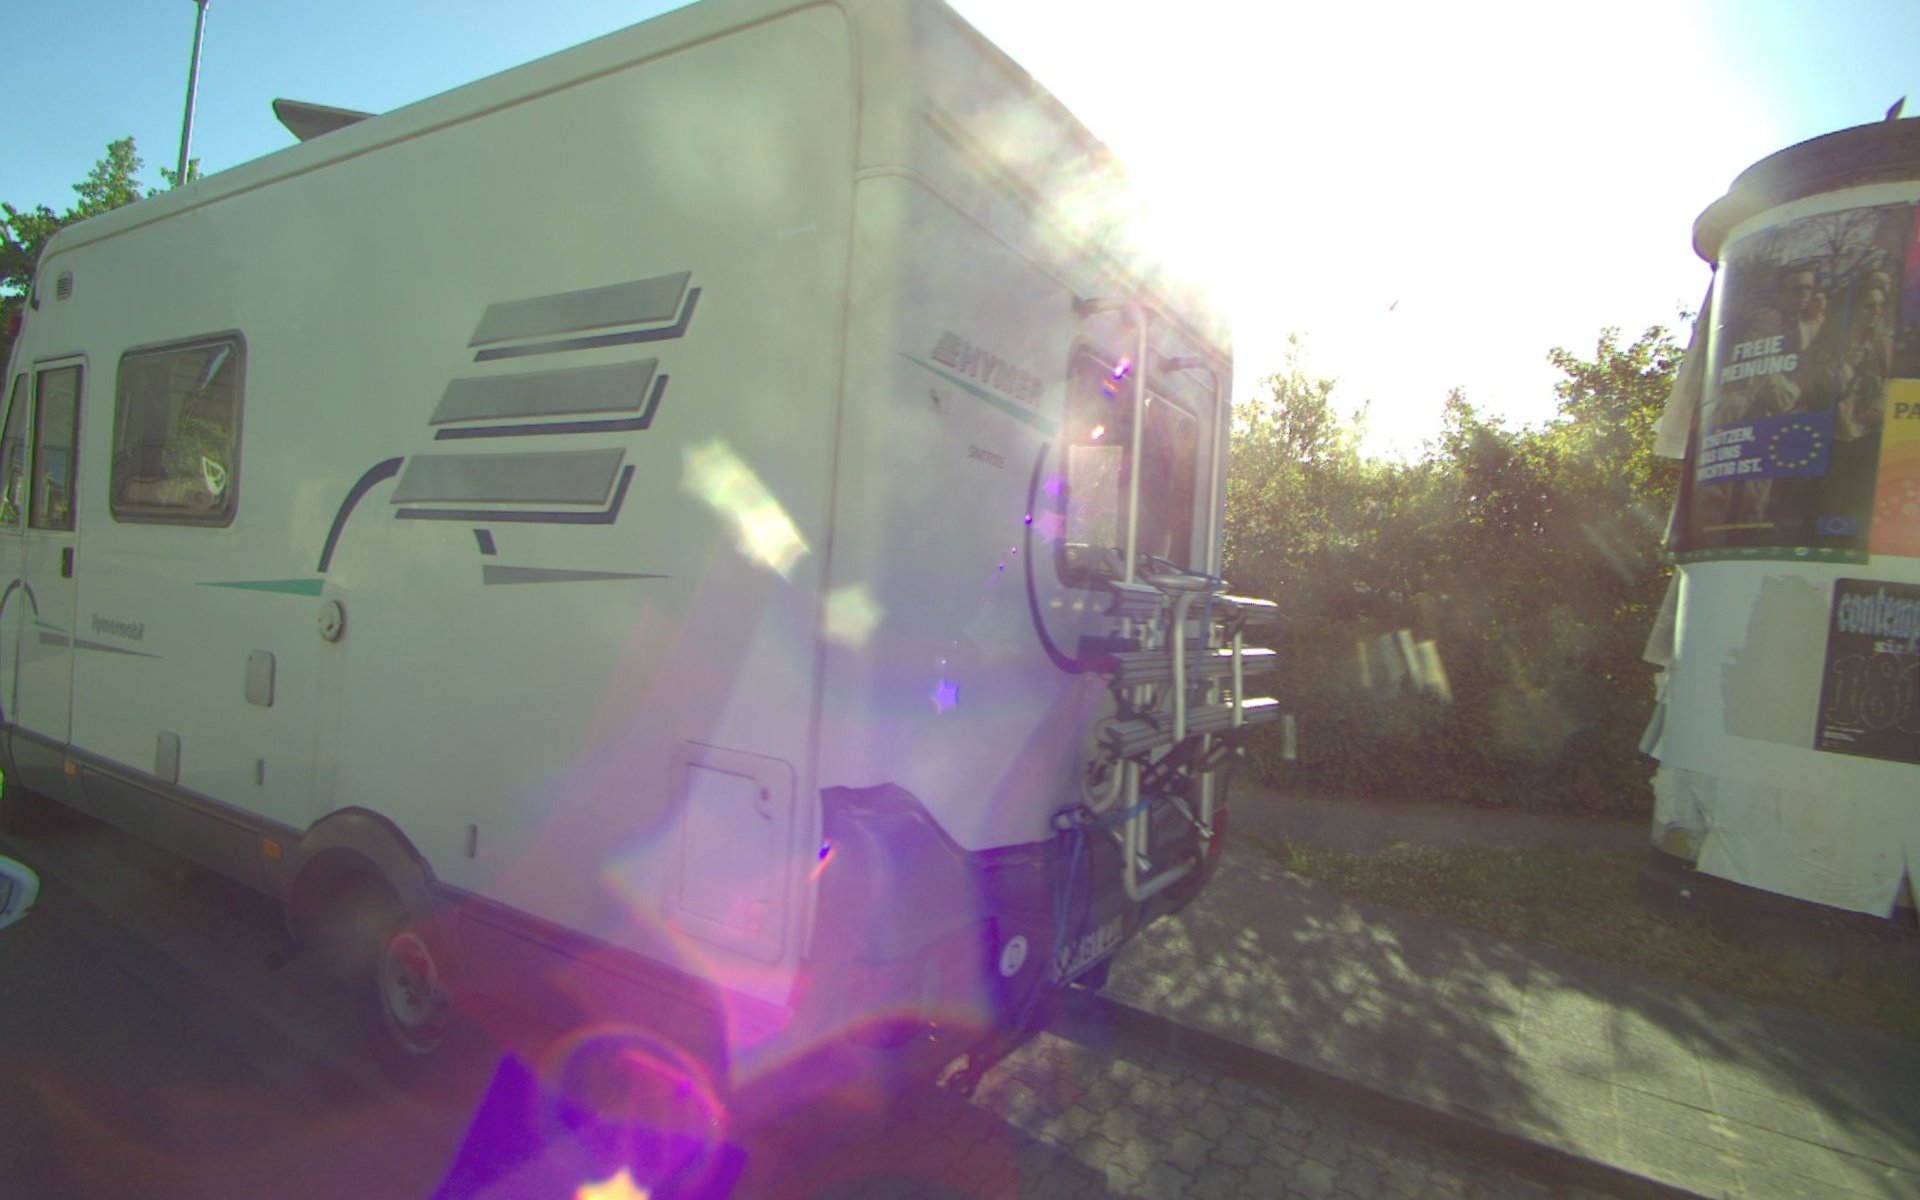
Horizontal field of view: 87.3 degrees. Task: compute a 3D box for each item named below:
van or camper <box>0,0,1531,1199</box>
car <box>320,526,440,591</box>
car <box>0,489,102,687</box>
[{"bbox_3d":[-1.687,-0.246,4.168,6.736,2.881,2.499,7,1,31],"label":"van or camper"},{"bbox_3d":[-18.899,-1.344,32.805,2.946,1.583,1.678,8,3,-45],"label":"car"},{"bbox_3d":[-9.028,-0.300,8.390,3.934,1.492,1.693,7,0,32],"label":"car"}]
